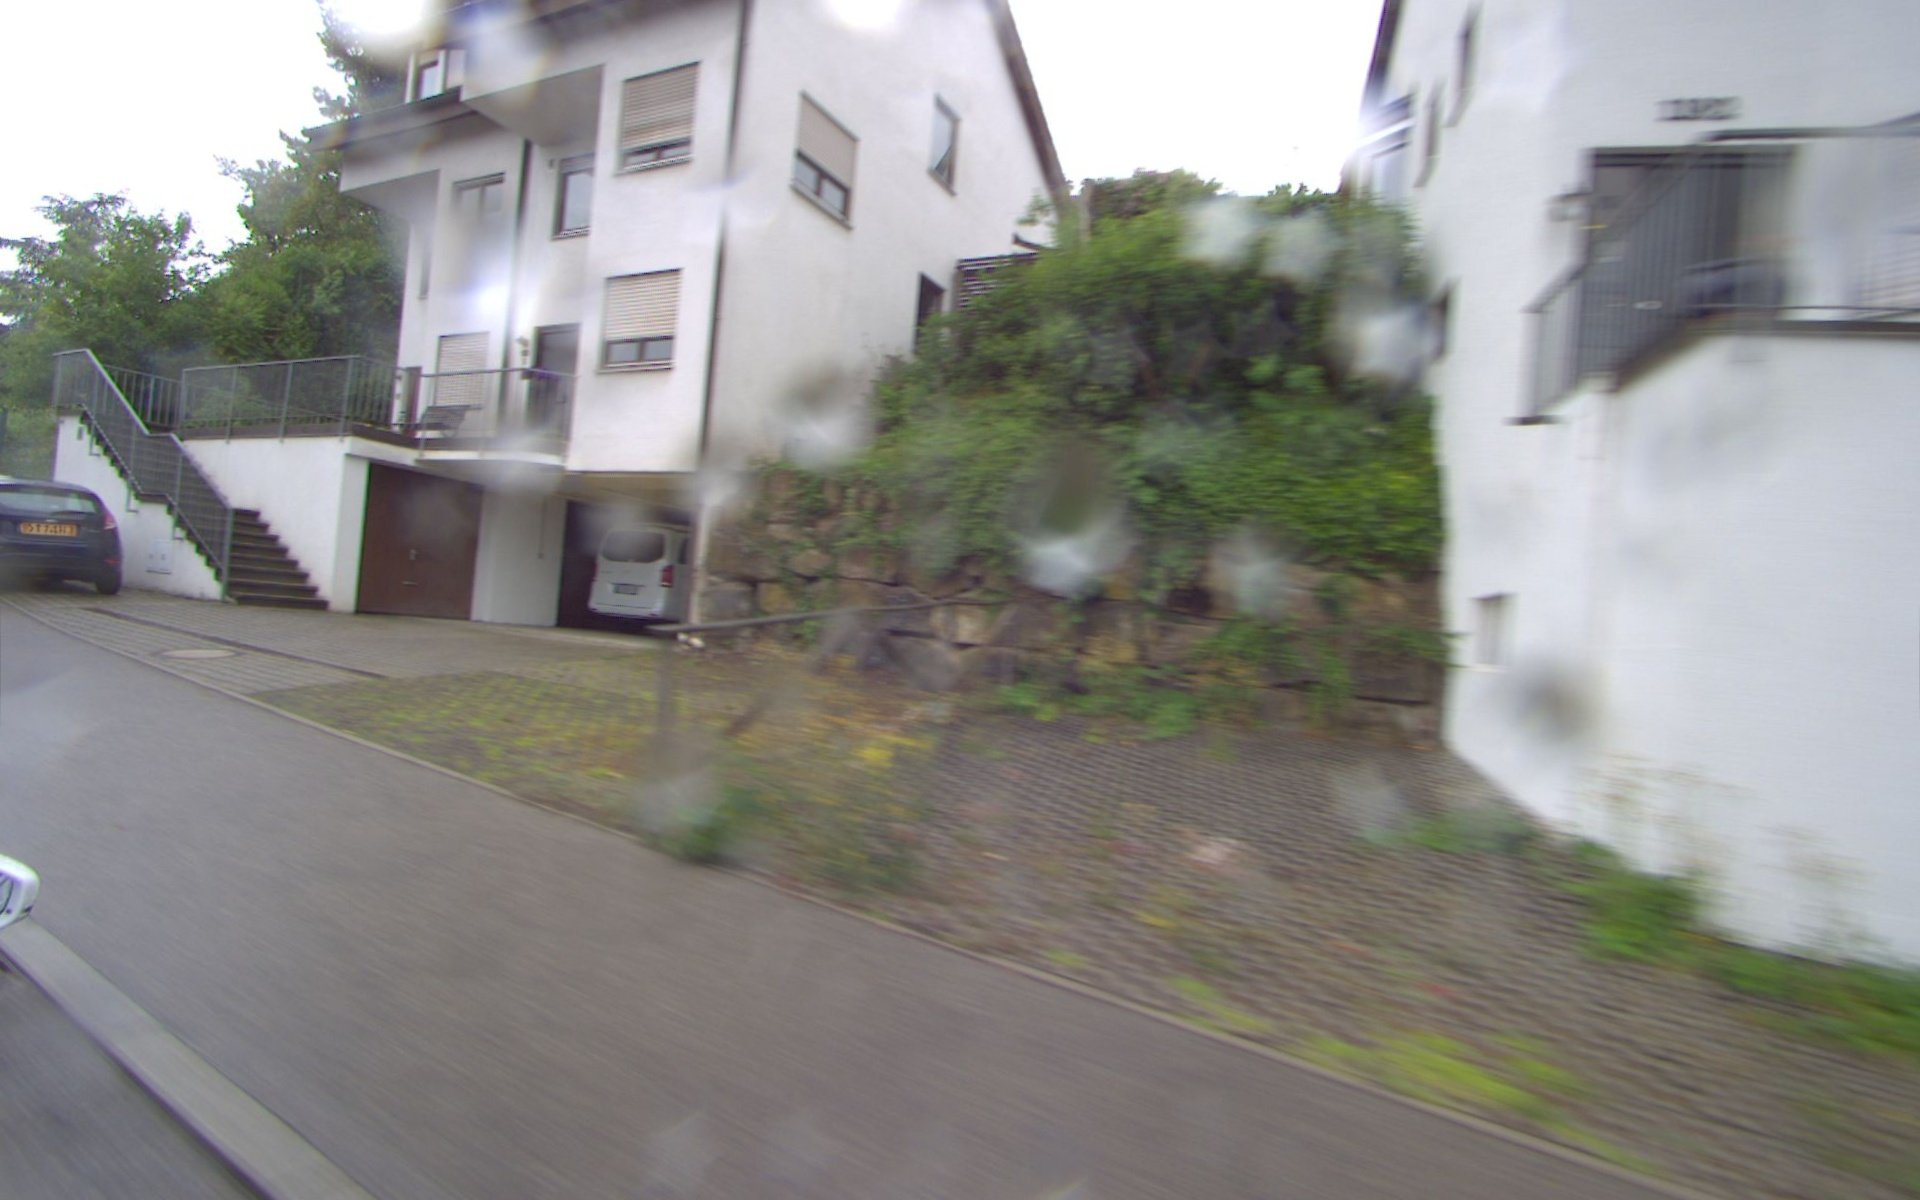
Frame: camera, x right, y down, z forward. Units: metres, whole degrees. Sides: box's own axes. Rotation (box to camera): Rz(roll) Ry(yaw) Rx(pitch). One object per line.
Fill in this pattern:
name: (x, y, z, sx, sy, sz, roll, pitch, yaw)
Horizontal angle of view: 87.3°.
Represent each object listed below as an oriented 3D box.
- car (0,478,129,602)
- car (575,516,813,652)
car: (-13.065, -0.898, 13.727, 3.958, 1.473, 1.703, 6, 2, 36)
car: (-4.786, -0.207, 18.705, 1.895, 1.976, 3.997, 6, -2, 28)
